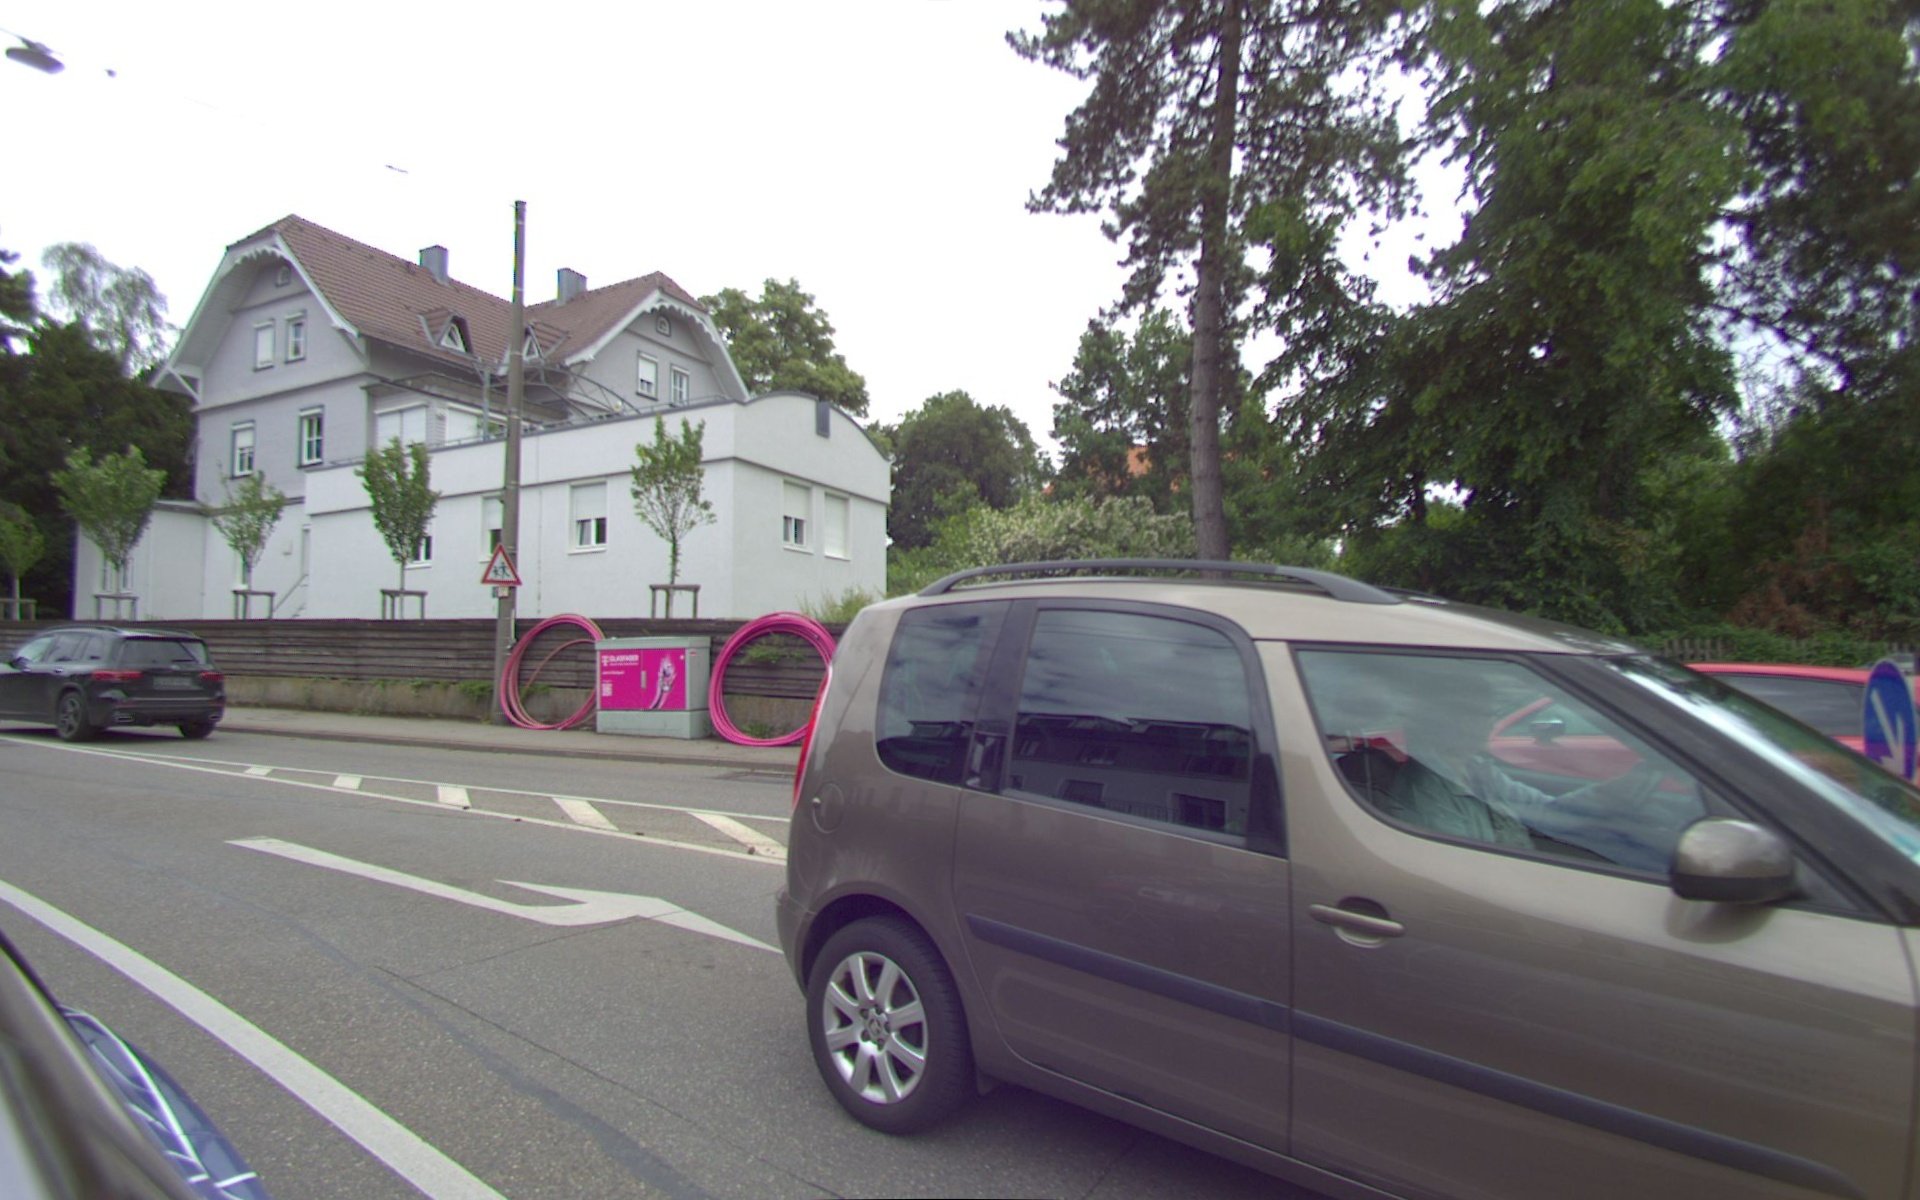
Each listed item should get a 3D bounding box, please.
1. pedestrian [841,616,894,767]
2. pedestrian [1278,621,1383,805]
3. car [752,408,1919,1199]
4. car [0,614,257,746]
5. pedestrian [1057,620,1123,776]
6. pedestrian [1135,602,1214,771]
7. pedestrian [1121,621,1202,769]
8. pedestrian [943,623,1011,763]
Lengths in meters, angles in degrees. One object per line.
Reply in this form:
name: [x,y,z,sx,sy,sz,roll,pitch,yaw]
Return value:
pedestrian: [-1.162,1.149,12.865,0.605,1.851,0.753,1,-3,-3]
pedestrian: [4.234,1.264,11.640,1.012,2.029,0.706,0,-3,11]
car: [1.537,0.630,2.594,3.993,1.719,1.875,-1,-4,37]
car: [-13.411,1.207,15.676,4.492,1.811,1.984,-1,-5,23]
pedestrian: [1.532,1.134,12.026,0.685,1.767,0.871,1,-3,2]
pedestrian: [2.681,1.056,12.635,0.809,2.029,0.700,-1,-3,29]
pedestrian: [2.468,1.155,12.449,0.683,1.747,0.755,2,-3,-20]
pedestrian: [0.236,1.210,13.399,0.856,1.777,0.817,1,-3,3]
